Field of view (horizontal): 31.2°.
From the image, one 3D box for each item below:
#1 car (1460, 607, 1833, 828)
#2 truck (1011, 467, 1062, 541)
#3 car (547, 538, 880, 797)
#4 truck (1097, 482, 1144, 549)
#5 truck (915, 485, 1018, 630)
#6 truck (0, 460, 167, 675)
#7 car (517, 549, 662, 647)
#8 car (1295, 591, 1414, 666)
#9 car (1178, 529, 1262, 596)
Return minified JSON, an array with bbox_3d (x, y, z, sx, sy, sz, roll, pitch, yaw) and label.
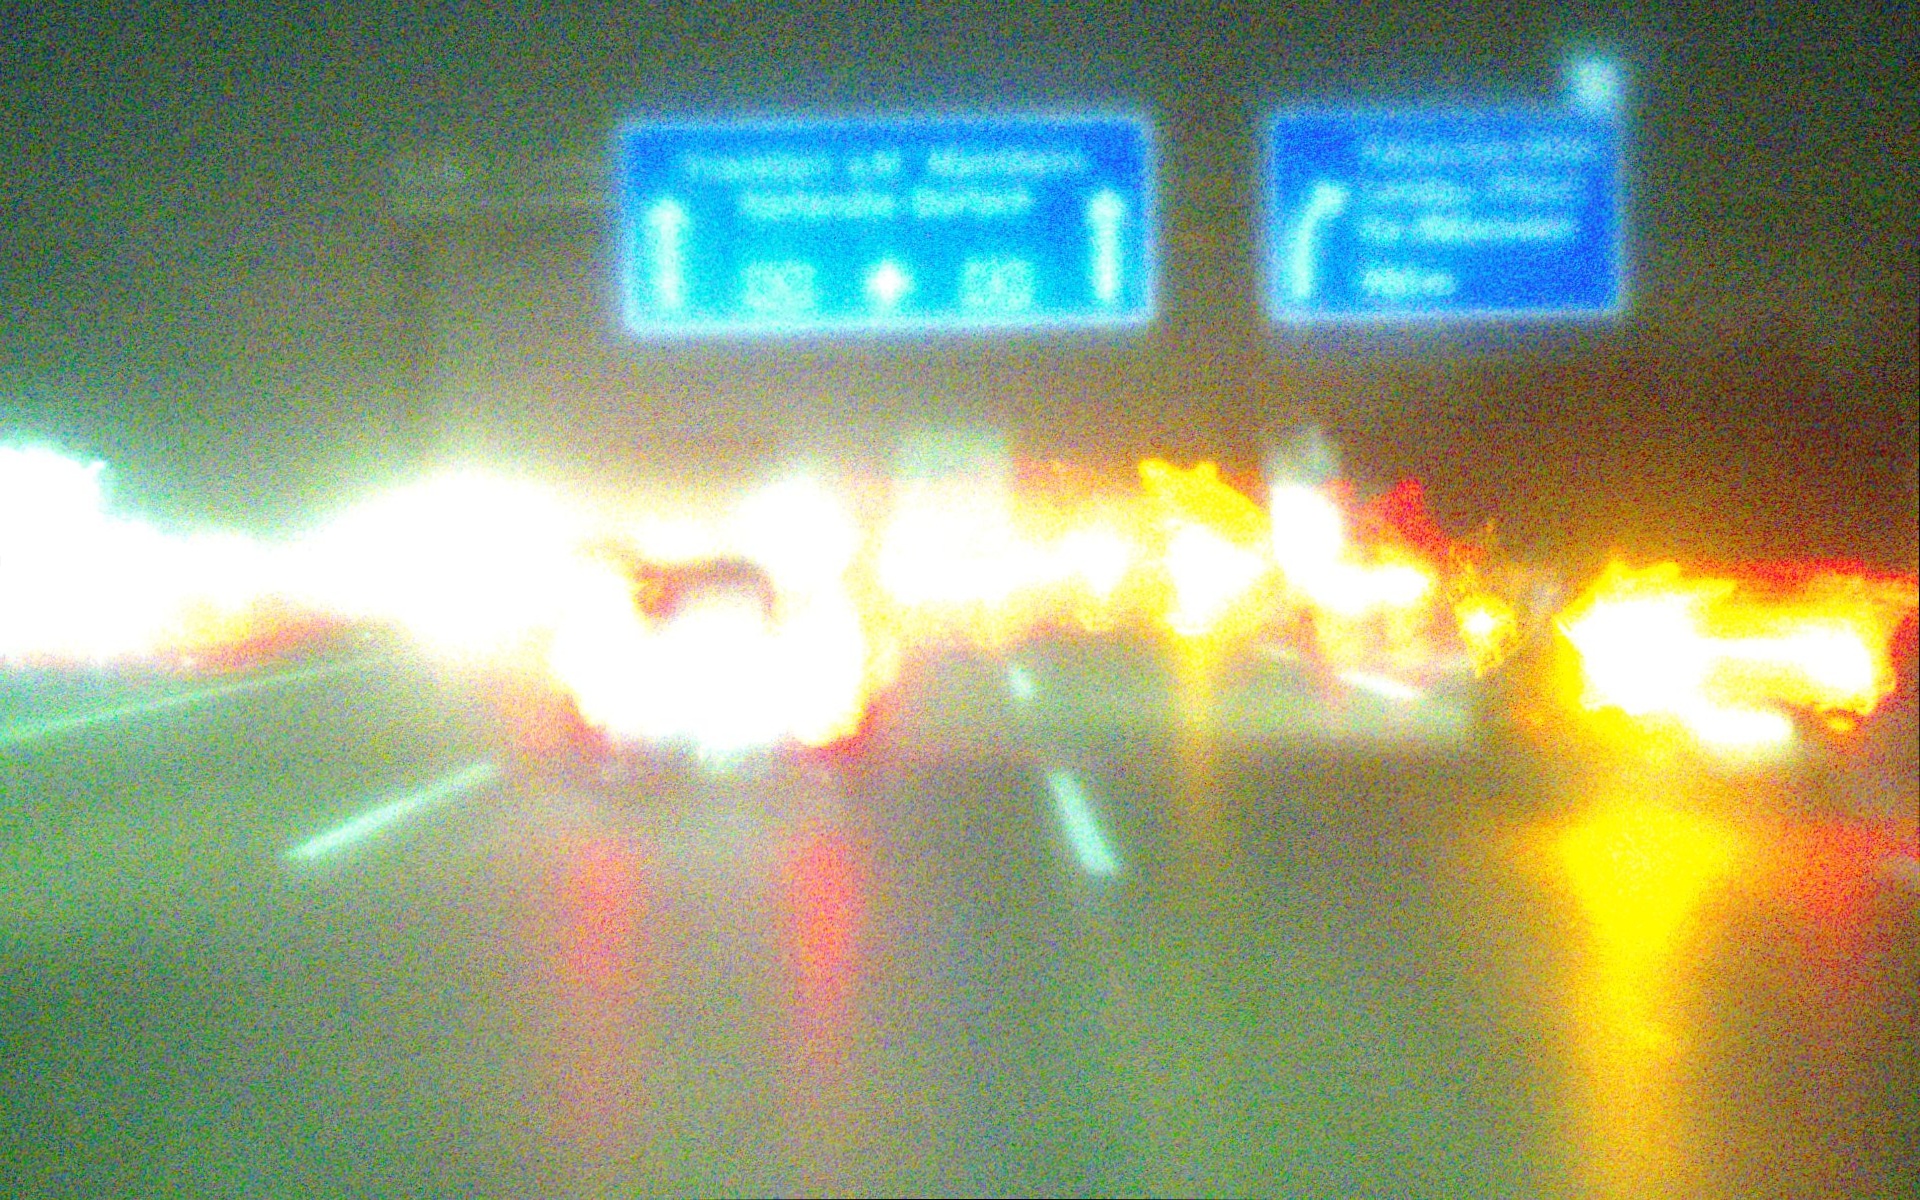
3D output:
[{"bbox_3d":[4.299,0.701,21.926,1.580,1.242,3.069,0,1,-4],"label":"car"},{"bbox_3d":[3.327,-4.120,148.947,1.993,3.032,6.465,-3,1,2],"label":"truck"},{"bbox_3d":[-1.464,0.352,21.754,1.802,1.482,4.000,0,1,0],"label":"car"},{"bbox_3d":[7.718,-4.040,165.855,1.993,3.032,6.465,-3,1,2],"label":"truck"},{"bbox_3d":[0.193,-0.960,77.415,1.993,3.032,6.465,-3,1,2],"label":"truck"},{"bbox_3d":[-21.607,-0.769,82.907,2.923,4.833,7.577,-3,1,1],"label":"truck"},{"bbox_3d":[-5.157,-0.050,48.183,1.662,1.232,3.762,-3,1,-1],"label":"car"},{"bbox_3d":[6.980,0.492,61.035,1.580,1.242,3.069,0,1,-4],"label":"car"},{"bbox_3d":[6.386,-0.943,84.682,1.863,1.612,4.000,0,1,2],"label":"car"}]
